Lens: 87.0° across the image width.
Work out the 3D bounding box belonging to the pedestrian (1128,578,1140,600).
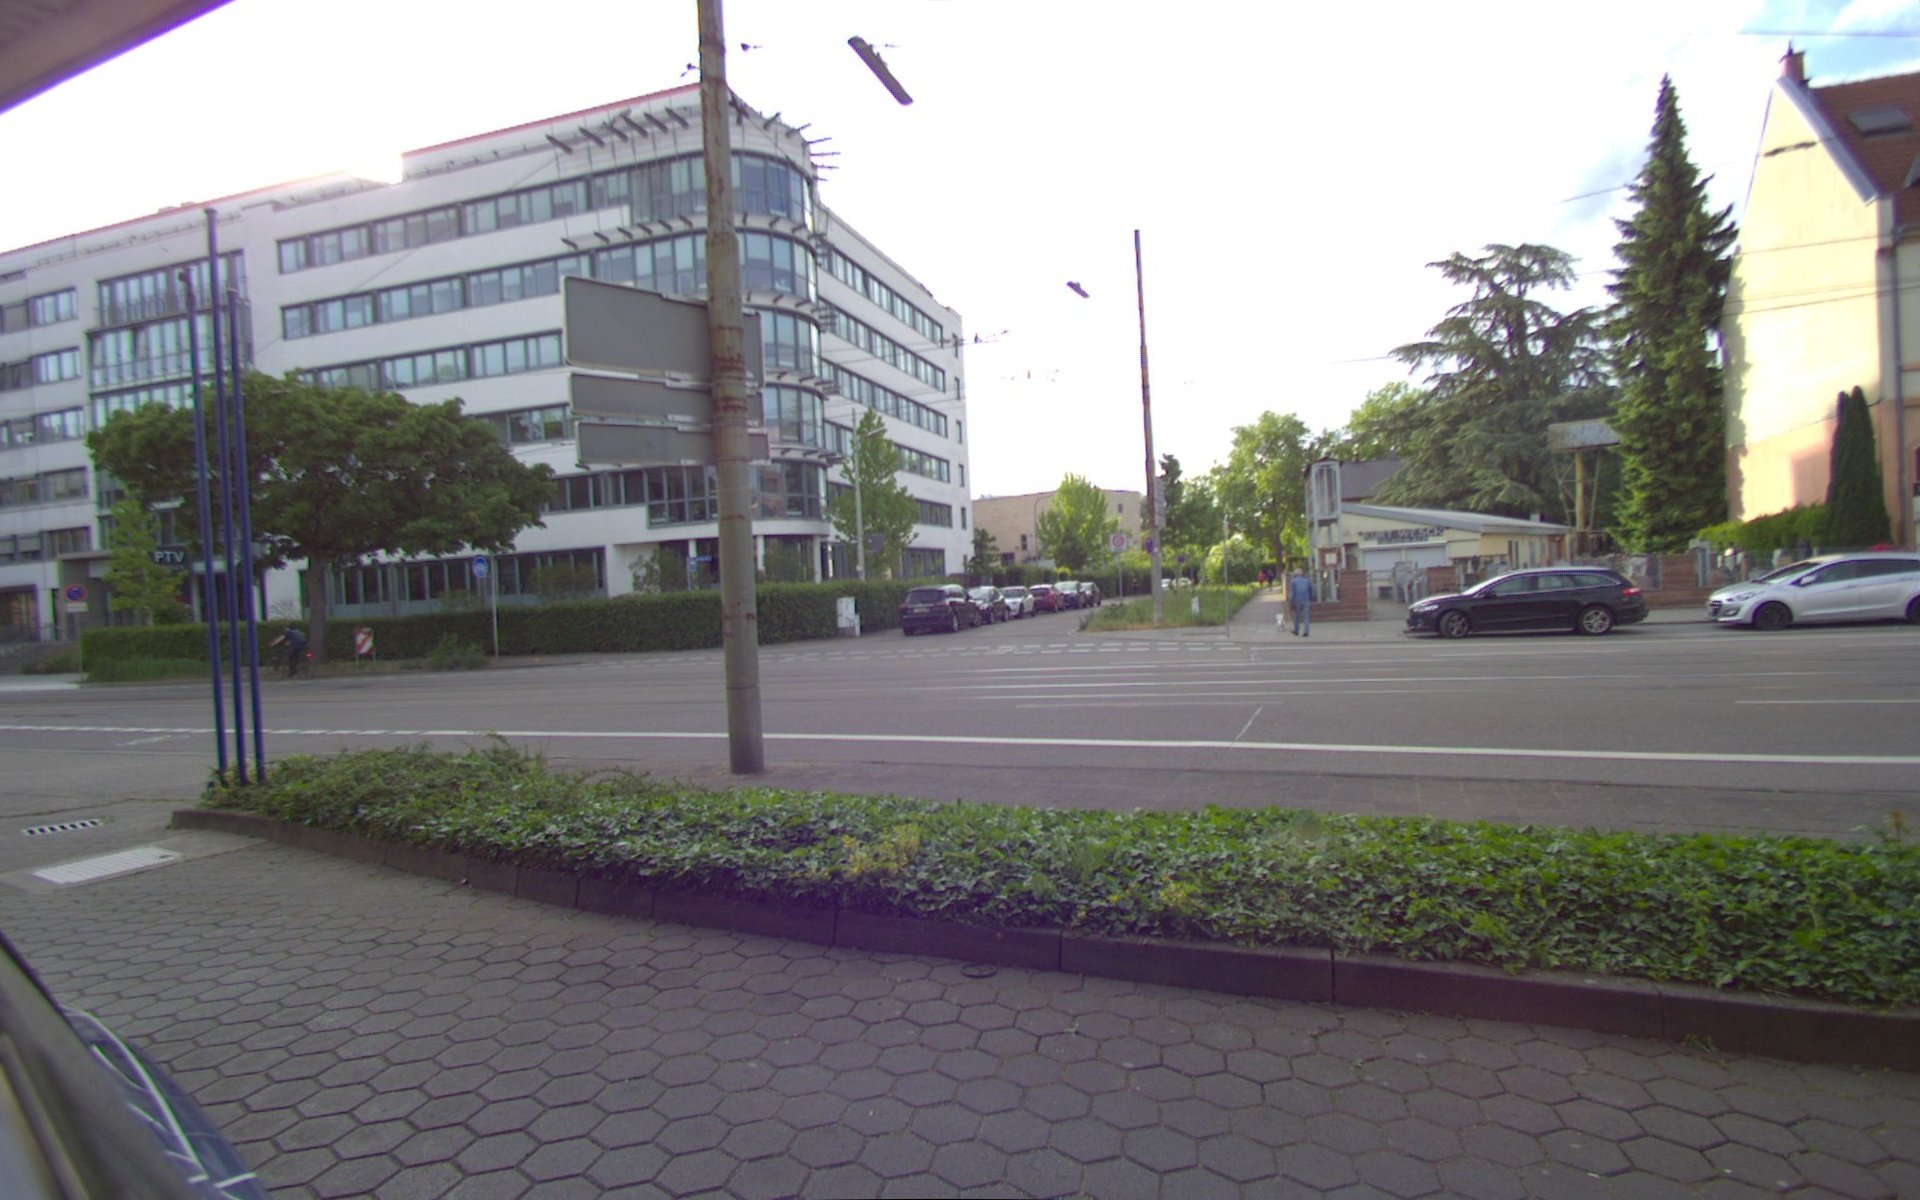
[{"bbox_3d":[15.236,-0.934,88.524,0.965,1.896,1.056,-1,0,16],"label":"pedestrian"}]

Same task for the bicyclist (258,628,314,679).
[{"bbox_3d":[-20.233,1.603,30.389,1.163,1.462,0.788,-1,0,11],"label":"bicyclist"}]

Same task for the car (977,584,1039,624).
[{"bbox_3d":[2.231,0.156,45.682,1.807,1.589,4.175,-4,0,16],"label":"car"}]

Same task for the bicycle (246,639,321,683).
[{"bbox_3d":[-20.306,1.835,30.405,1.863,1.248,0.788,-1,0,11],"label":"bicycle"}]

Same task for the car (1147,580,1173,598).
[{"bbox_3d":[19.965,-1.121,100.904,1.811,1.654,4.044,-4,0,22],"label":"car"}]

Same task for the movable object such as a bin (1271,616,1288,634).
[{"bbox_3d":[8.639,0.676,27.372,0.363,0.397,0.660,-3,3,13],"label":"movable object such as a bin"}]

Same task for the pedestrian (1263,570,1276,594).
[{"bbox_3d":[24.820,-1.463,81.109,0.965,1.896,1.056,-1,0,17],"label":"pedestrian"}]

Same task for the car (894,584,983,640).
[{"bbox_3d":[-0.679,0.360,35.563,1.807,1.701,4.370,-4,1,16],"label":"car"}]

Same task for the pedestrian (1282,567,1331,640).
[{"bbox_3d":[8.640,0.074,25.266,0.899,1.712,0.924,-3,3,7],"label":"pedestrian"}]

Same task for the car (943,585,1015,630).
[{"bbox_3d":[0.838,0.274,40.978,1.807,1.589,4.175,-4,0,16],"label":"car"}]

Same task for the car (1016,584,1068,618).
[{"bbox_3d":[4.307,0.028,52.404,1.807,1.589,4.175,-4,0,16],"label":"car"}]

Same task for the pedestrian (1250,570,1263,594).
[{"bbox_3d":[23.847,-1.451,81.399,0.965,1.896,1.056,-1,0,17],"label":"pedestrian"}]

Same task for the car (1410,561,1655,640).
[{"bbox_3d":[13.021,0.013,23.364,4.632,1.533,1.842,-3,2,22],"label":"car"}]

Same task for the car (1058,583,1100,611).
[{"bbox_3d":[7.393,-0.206,62.567,1.807,1.585,4.052,-4,0,16],"label":"car"}]

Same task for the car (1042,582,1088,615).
[{"bbox_3d":[6.038,-0.130,57.802,1.807,1.704,4.392,-4,0,16],"label":"car"}]

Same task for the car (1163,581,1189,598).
[{"bbox_3d":[22.842,-1.141,106.851,1.813,1.654,4.040,-4,0,25],"label":"car"}]

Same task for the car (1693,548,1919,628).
[{"bbox_3d":[18.414,-0.262,21.394,4.349,1.493,1.732,-3,1,22],"label":"car"}]
